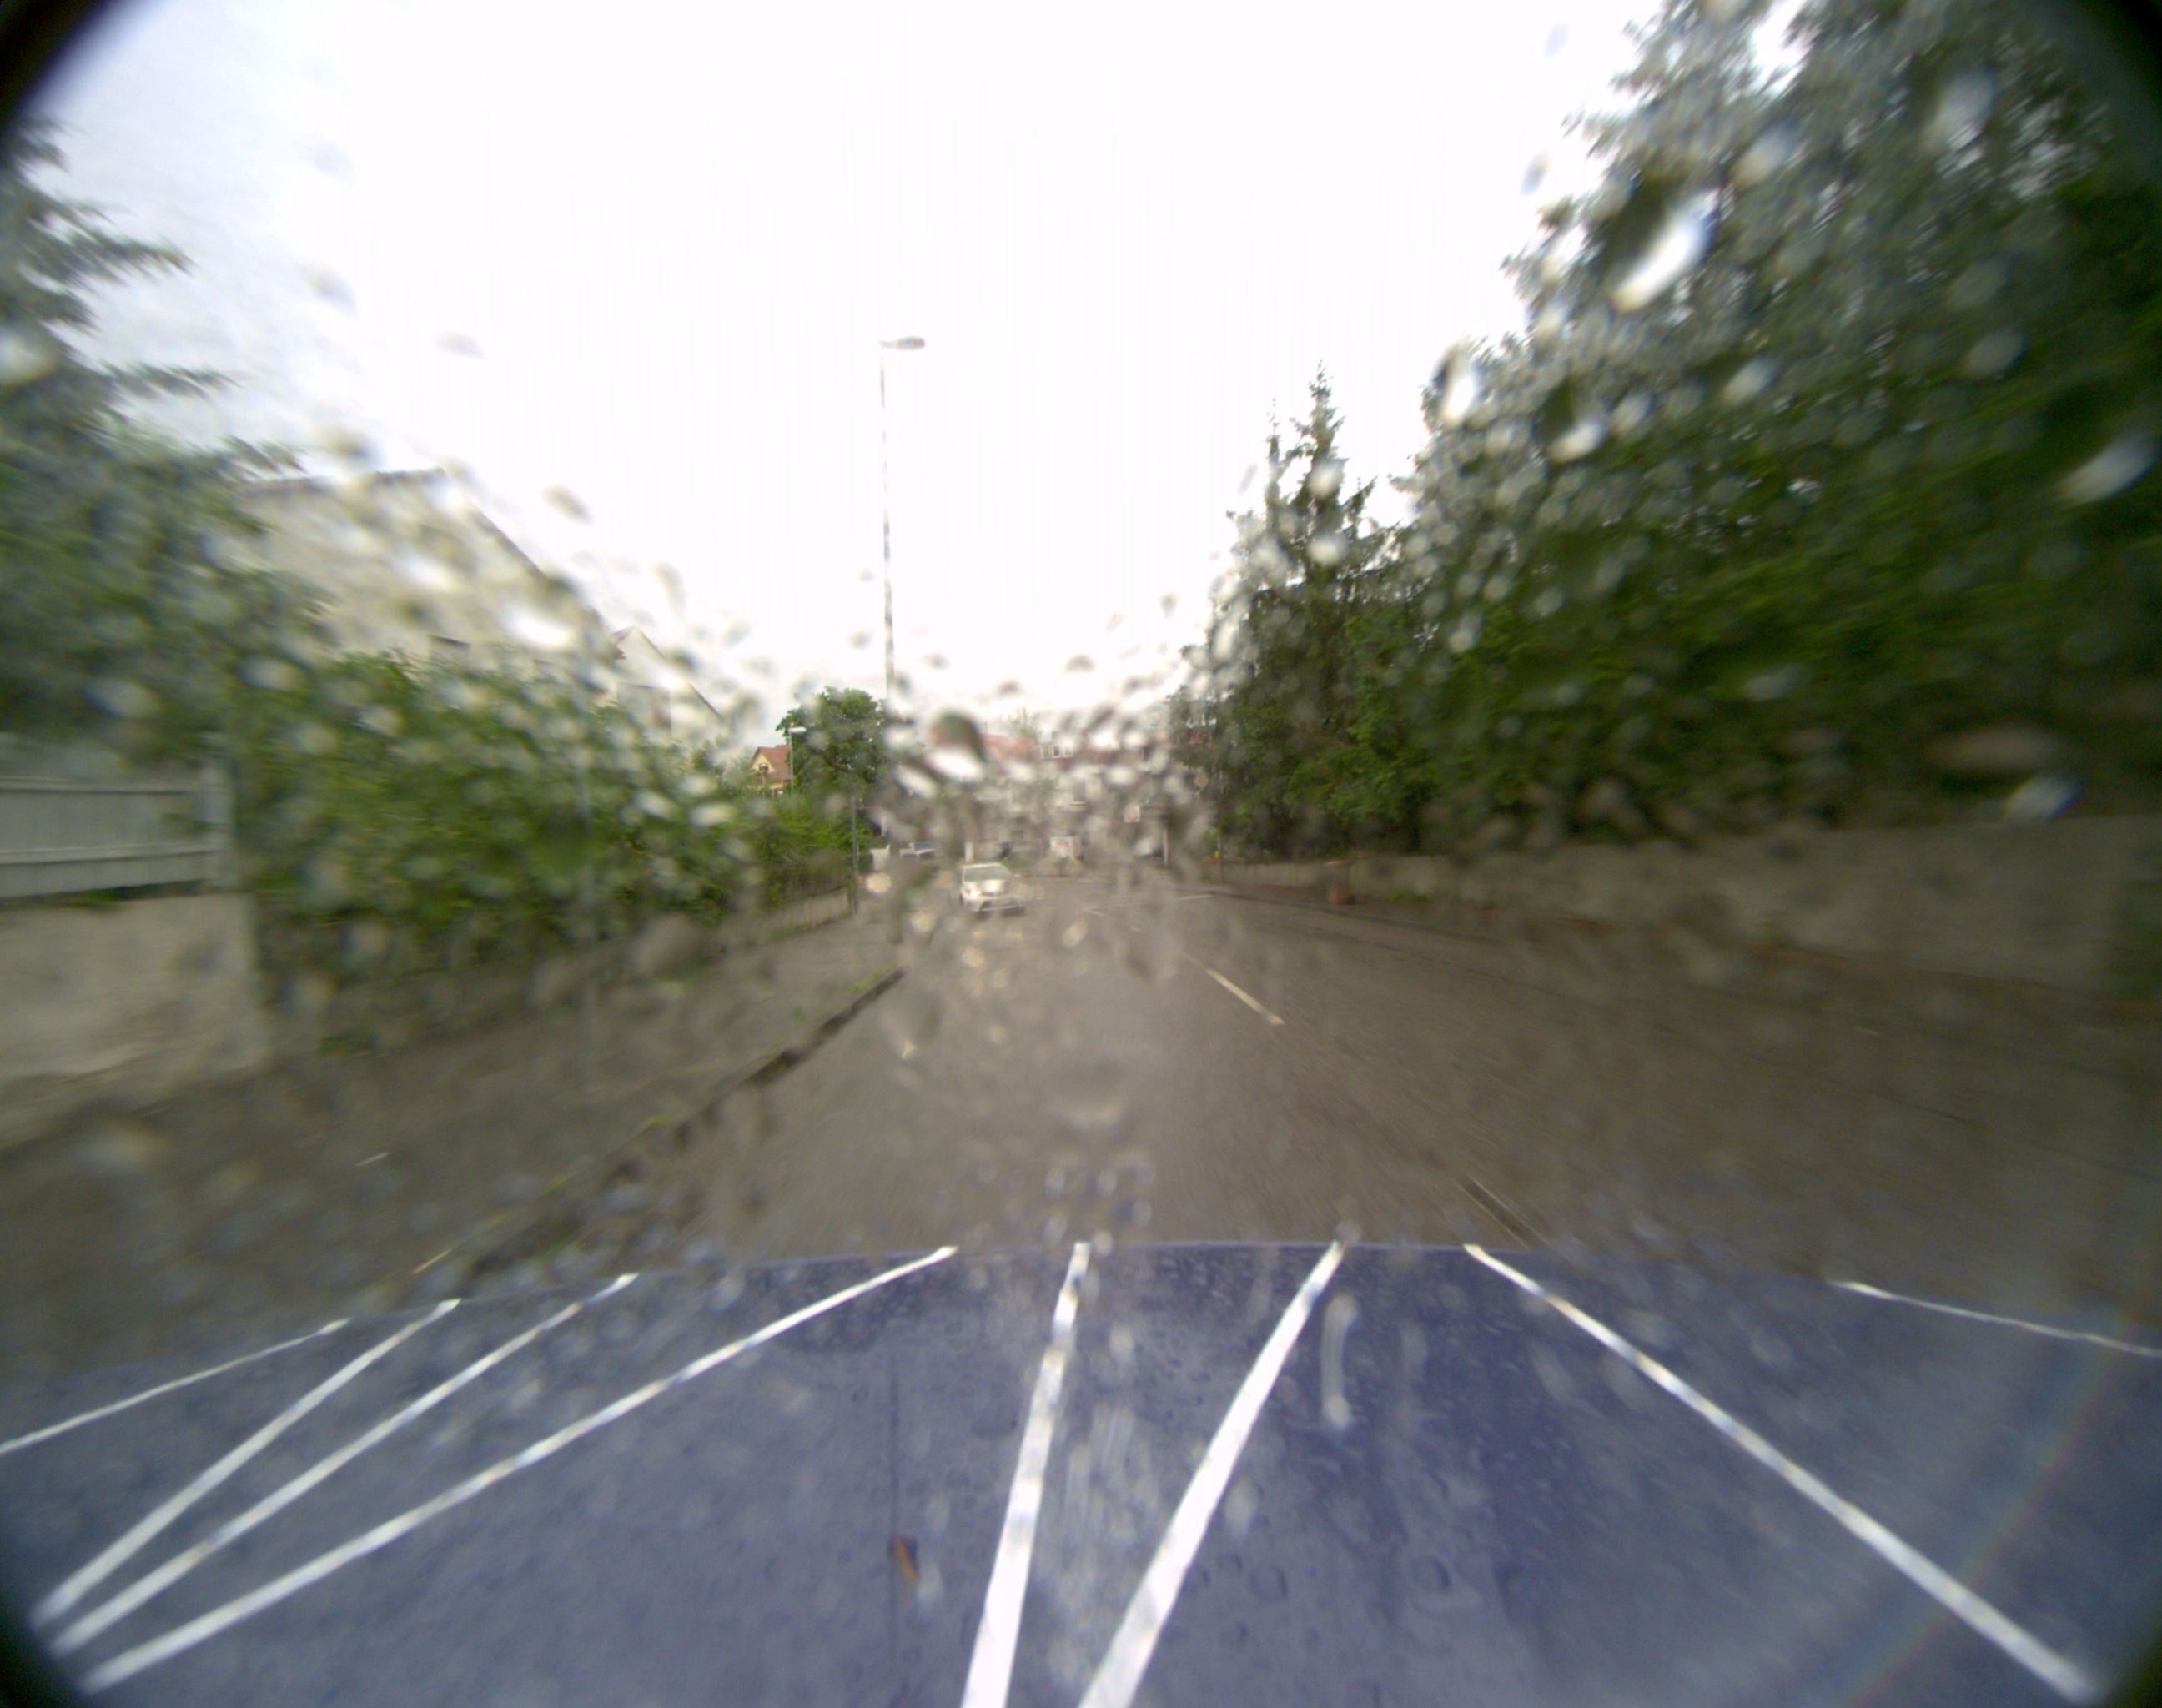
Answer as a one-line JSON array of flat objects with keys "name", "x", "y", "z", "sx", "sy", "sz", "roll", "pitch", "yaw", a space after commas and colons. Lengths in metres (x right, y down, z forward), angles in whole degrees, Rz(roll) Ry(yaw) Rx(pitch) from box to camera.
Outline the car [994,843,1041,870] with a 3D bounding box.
[{"name": "car", "x": -4.294, "y": 0.164, "z": 51.925, "sx": 1.835, "sy": 1.477, "sz": 3.348, "roll": -4, "pitch": 3, "yaw": 21}]

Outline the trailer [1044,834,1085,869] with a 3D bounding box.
[{"name": "trailer", "x": -1.042, "y": -0.218, "z": 51.144, "sx": 1.951, "sy": 2.091, "sz": 3.962, "roll": -3, "pitch": 2, "yaw": 9}]

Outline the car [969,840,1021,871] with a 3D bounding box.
[{"name": "car", "x": -6.013, "y": 0.092, "z": 53.579, "sx": 1.795, "sy": 1.765, "sz": 4.093, "roll": -3, "pitch": 4, "yaw": 22}]

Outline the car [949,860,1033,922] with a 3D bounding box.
[{"name": "car", "x": -2.734, "y": 0.998, "z": 22.334, "sx": 1.861, "sy": 1.427, "sz": 4.012, "roll": -7, "pitch": 2, "yaw": -13}]

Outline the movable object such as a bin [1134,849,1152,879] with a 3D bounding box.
[{"name": "movable object such as a bin", "x": 2.461, "y": 0.399, "z": 30.296, "sx": 0.625, "sy": 1.133, "sz": 0.668, "roll": -5, "pitch": 3, "yaw": 2}]

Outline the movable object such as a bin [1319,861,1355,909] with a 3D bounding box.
[{"name": "movable object such as a bin", "x": 5.470, "y": 0.658, "z": 16.243, "sx": 0.501, "sy": 0.973, "sz": 0.490, "roll": -5, "pitch": 2, "yaw": -7}]

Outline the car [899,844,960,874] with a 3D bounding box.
[{"name": "car", "x": -11.170, "y": 0.364, "z": 56.314, "sx": 1.995, "sy": 1.790, "sz": 4.125, "roll": -3, "pitch": 4, "yaw": 34}]
